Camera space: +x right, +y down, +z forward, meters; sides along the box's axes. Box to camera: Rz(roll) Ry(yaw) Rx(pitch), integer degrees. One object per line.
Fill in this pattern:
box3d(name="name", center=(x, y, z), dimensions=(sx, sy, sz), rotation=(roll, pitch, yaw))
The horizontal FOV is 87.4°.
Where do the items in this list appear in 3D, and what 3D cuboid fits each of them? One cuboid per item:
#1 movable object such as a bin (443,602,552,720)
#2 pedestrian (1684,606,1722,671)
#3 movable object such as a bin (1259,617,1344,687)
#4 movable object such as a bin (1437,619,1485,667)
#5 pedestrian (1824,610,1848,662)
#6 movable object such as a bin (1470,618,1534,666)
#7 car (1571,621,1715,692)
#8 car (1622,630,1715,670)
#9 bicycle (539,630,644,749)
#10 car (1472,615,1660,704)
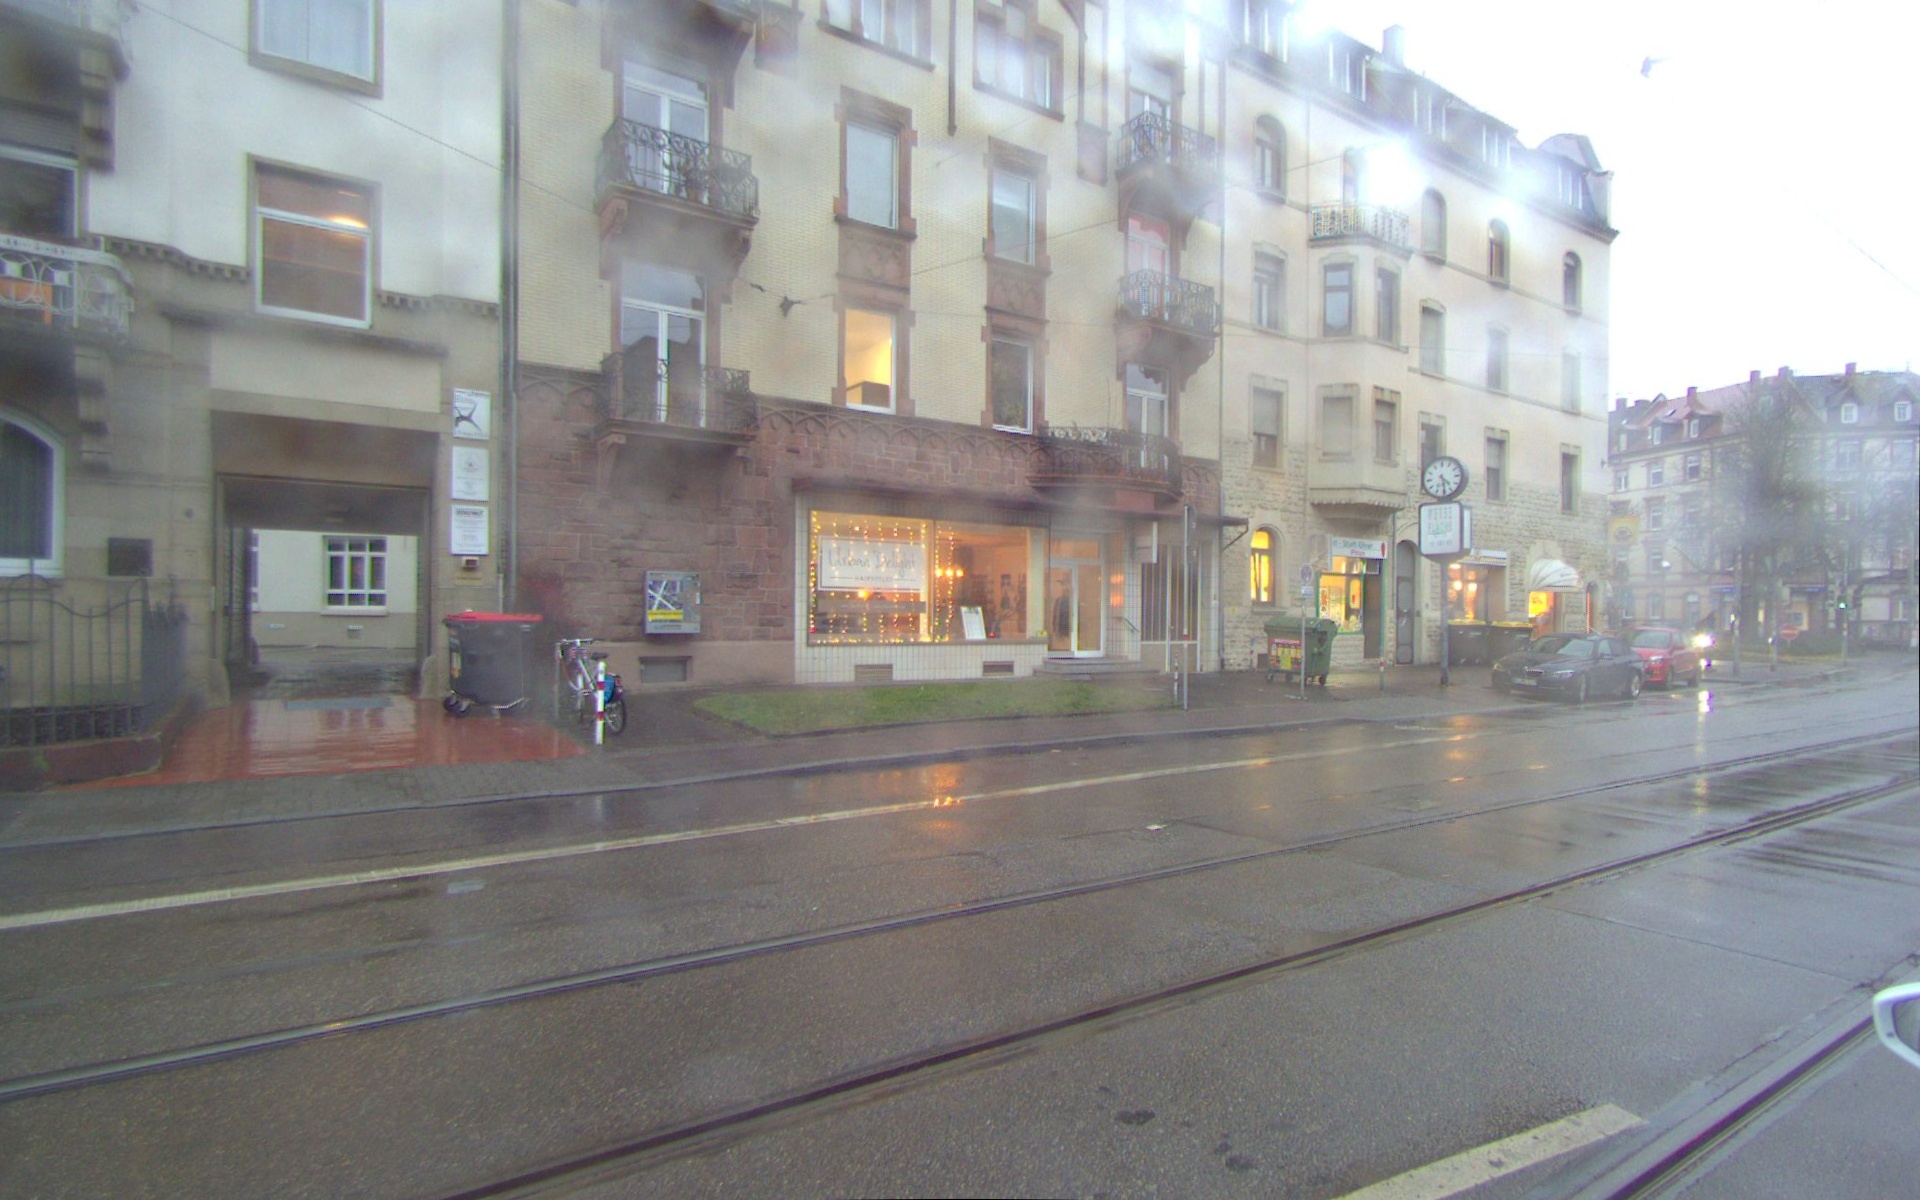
box3d(name="movable object such as a bin", center=(-6.062, 0.765, 13.140), dimensions=(1.155, 1.398, 1.096), rotation=(1, 2, -32))
box3d(name="pedestrian", center=(23.690, 1.226, 32.044), dimensions=(0.635, 2.040, 0.758), rotation=(1, 0, 3))
box3d(name="movable object such as a bin", center=(7.434, 1.106, 21.890), dimensions=(1.236, 1.439, 1.260), rotation=(1, 0, -33))
box3d(name="movable object such as a bin", center=(14.923, 1.262, 29.931), dimensions=(0.996, 1.396, 0.893), rotation=(1, 0, -33))
box3d(name="pedestrian", center=(35.471, 1.448, 40.686), dimensions=(0.695, 2.040, 0.658), rotation=(0, 0, 37))
box3d(name="movable object such as a bin", center=(16.337, 1.261, 30.294), dimensions=(1.239, 1.385, 1.286), rotation=(1, 0, -34))
box3d(name="car", center=(18.169, 1.429, 26.677), dimensions=(3.997, 1.573, 2.021), rotation=(0, 3, -39))
box3d(name="car", center=(33.293, 2.326, 47.316), dimensions=(1.981, 1.695, 4.003), rotation=(1, -1, 9))
box3d(name="bicycle", center=(-4.362, 0.981, 11.761), dimensions=(0.687, 1.120, 2.336), rotation=(1, 1, -32))
box3d(name="car", center=(13.870, 1.305, 22.906), dimensions=(4.587, 1.667, 1.972), rotation=(2, 3, -37))
